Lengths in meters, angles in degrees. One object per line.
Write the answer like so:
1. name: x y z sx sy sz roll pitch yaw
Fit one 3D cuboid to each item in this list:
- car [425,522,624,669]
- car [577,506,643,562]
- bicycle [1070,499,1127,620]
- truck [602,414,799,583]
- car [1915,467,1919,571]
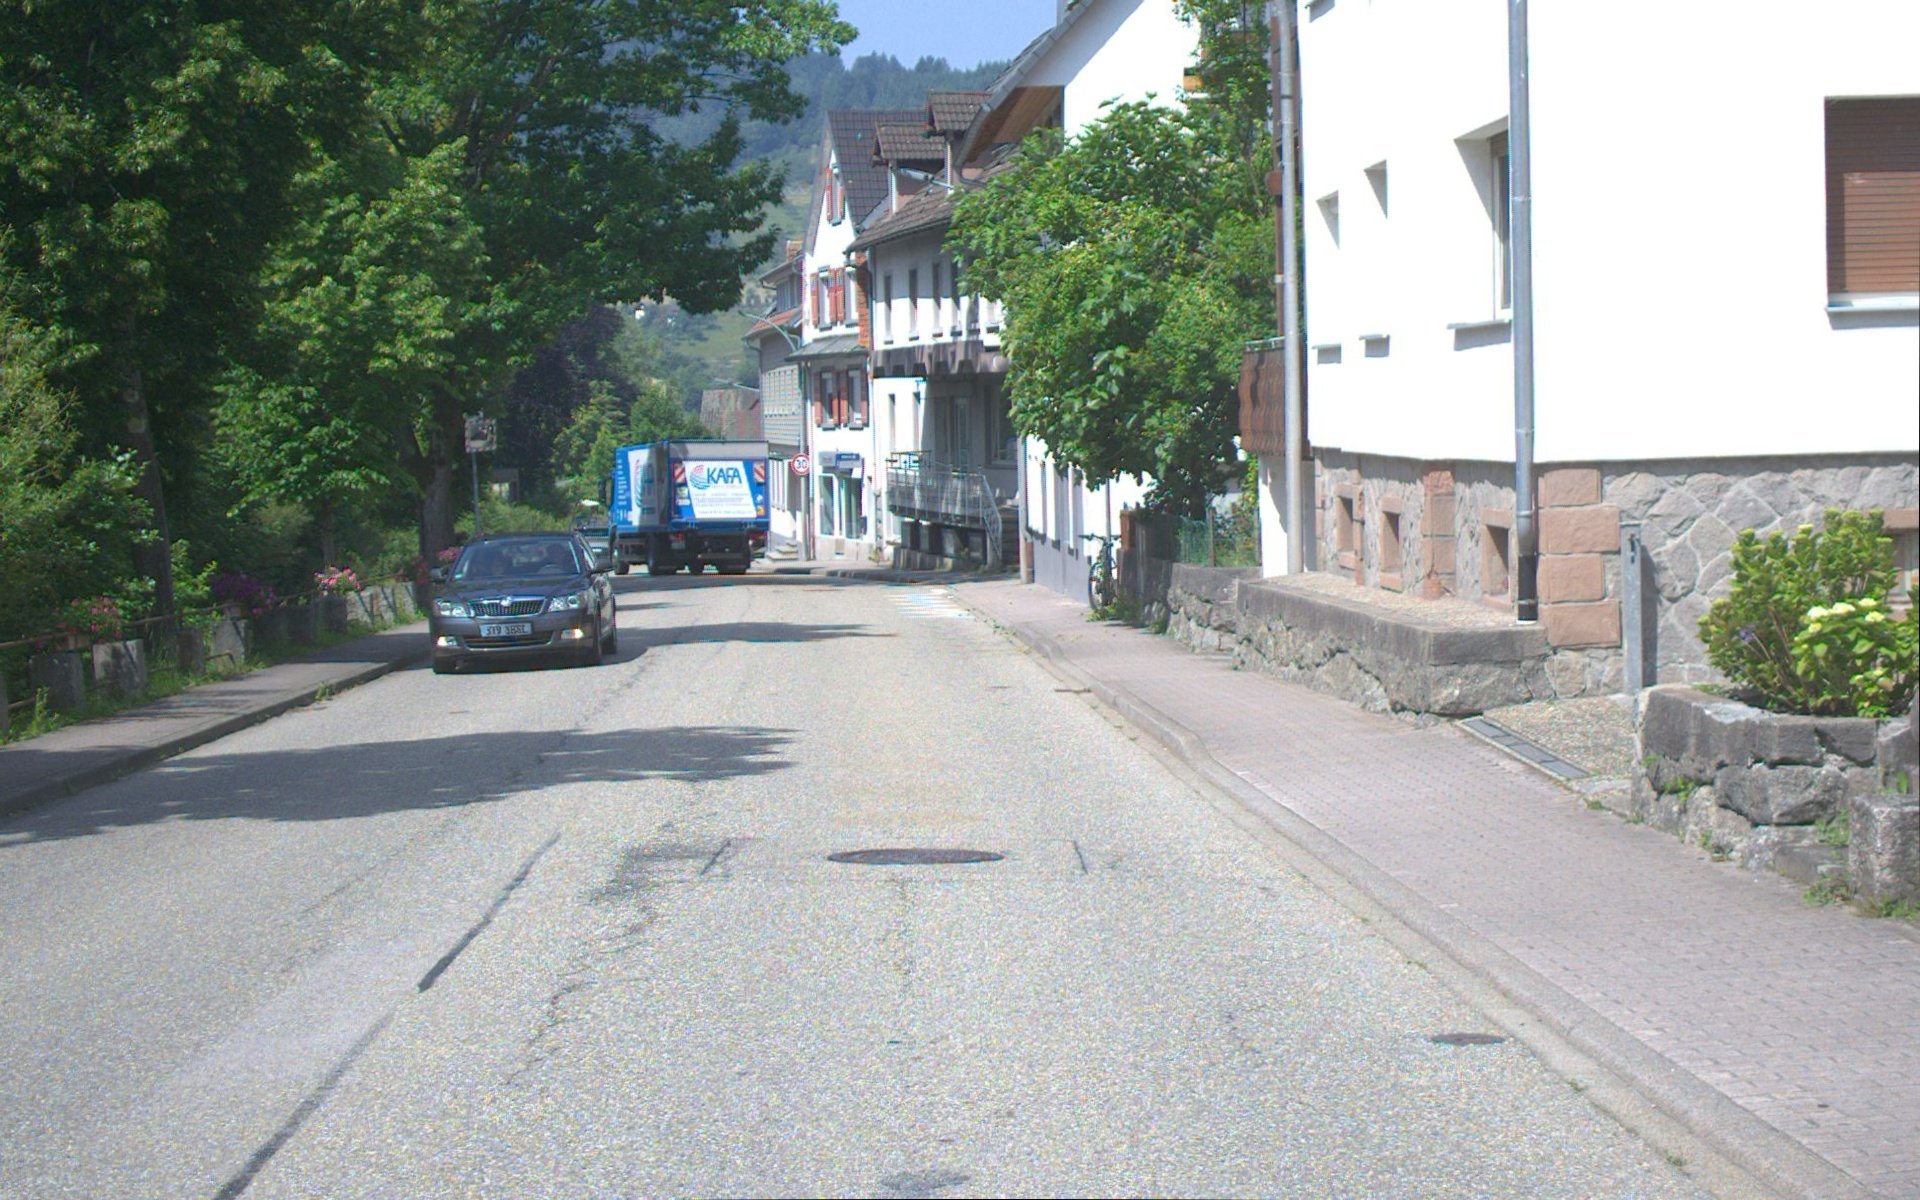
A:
1. car: -4.628 -0.089 37.028 1.666 1.413 4.087 -3 1 -2
2. car: -12.634 -2.372 123.910 1.773 1.728 4.001 -5 0 -12
3. bicycle: 1.670 -0.509 41.685 0.425 1.391 2.277 -5 2 -1
4. truck: -6.878 -2.554 89.739 3.362 3.769 8.442 -5 0 -15
5. car: 6.411 0.024 15.343 3.774 1.422 1.606 1 6 44
